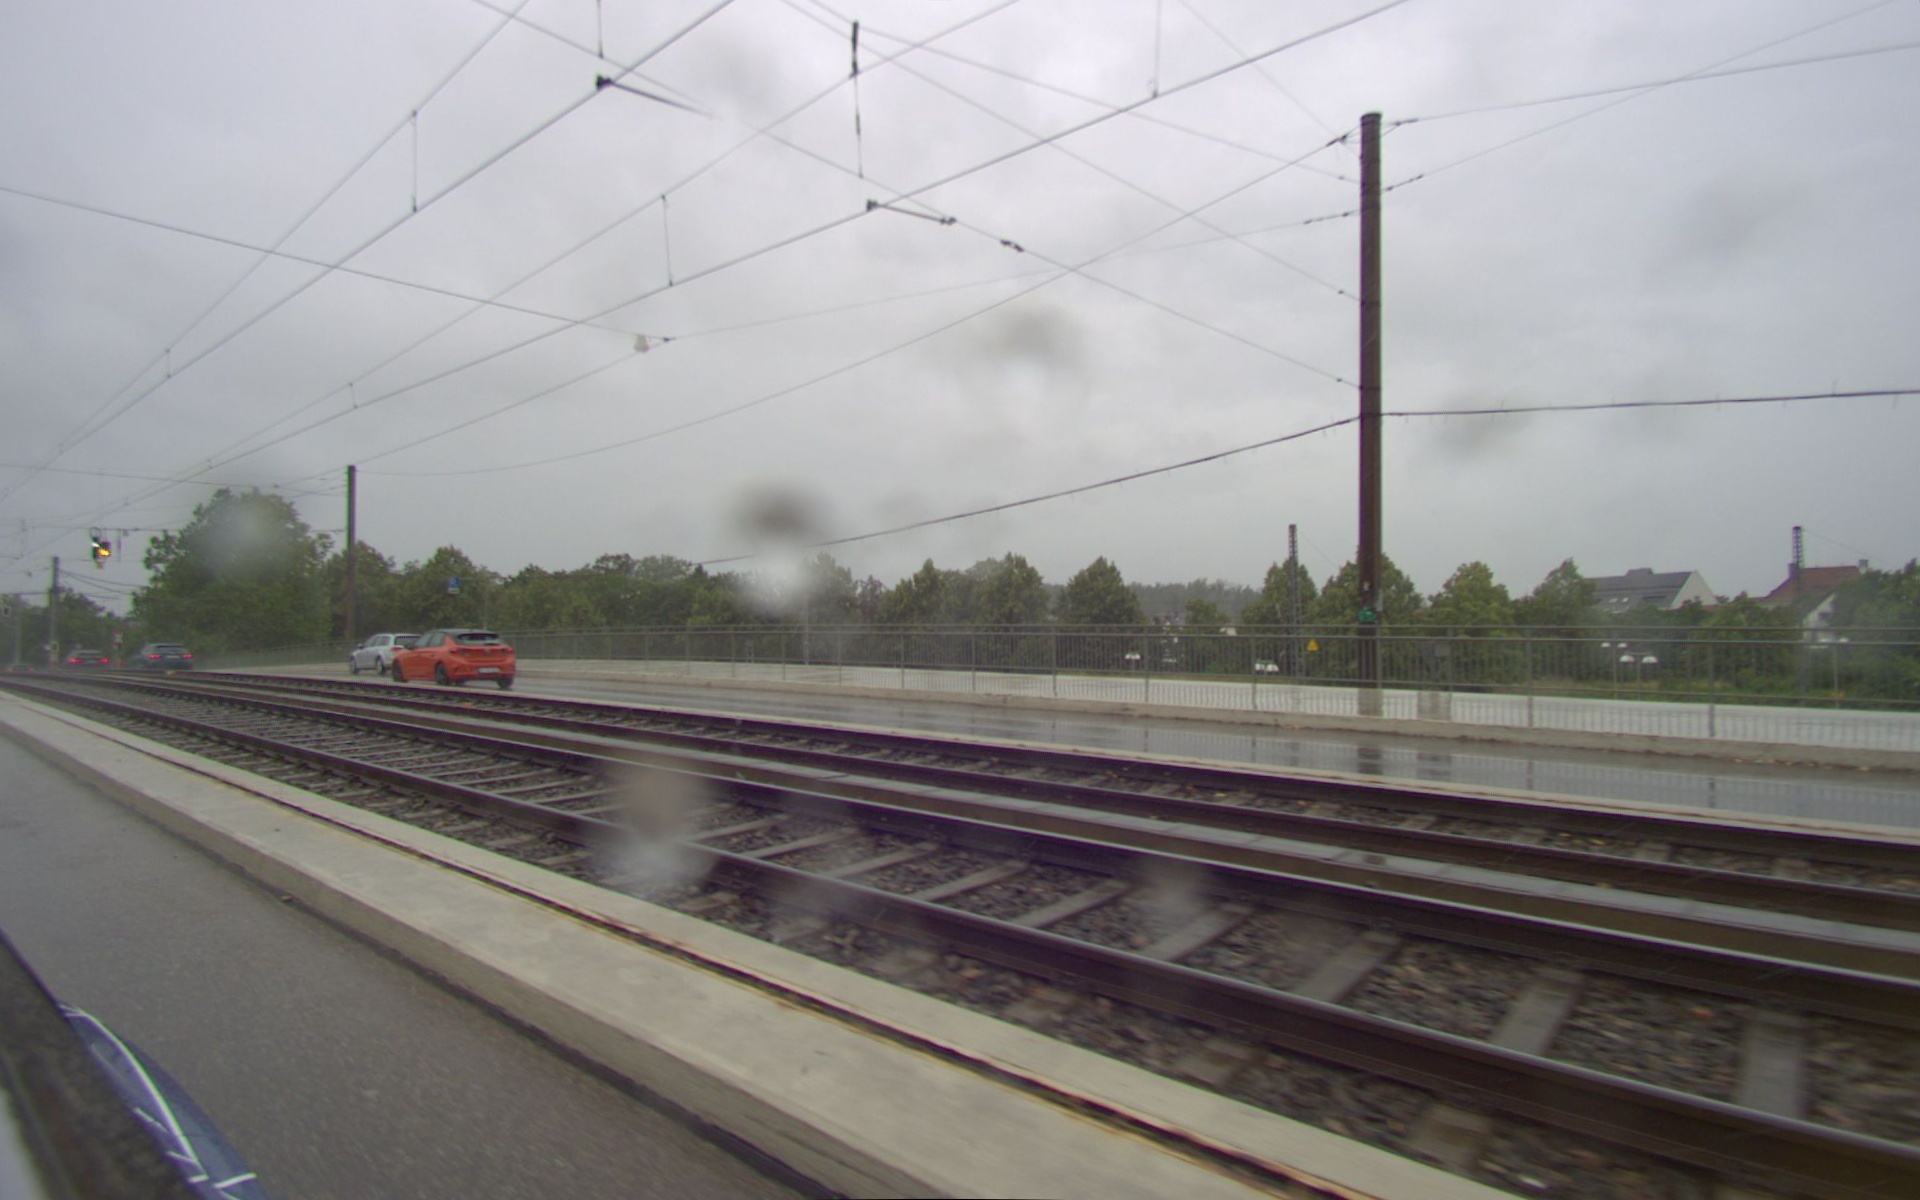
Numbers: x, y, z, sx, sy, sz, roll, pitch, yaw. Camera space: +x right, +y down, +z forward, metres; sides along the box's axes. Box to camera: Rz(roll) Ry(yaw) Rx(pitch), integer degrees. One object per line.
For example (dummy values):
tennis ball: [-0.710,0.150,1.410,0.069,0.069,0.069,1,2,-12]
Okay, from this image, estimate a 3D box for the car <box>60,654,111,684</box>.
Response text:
car: [-52.366,4.099,60.583,3.998,1.667,1.799,-3,-1,41]

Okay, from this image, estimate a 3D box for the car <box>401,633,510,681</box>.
car: [-16.704,1.878,33.443,4.319,1.467,1.604,-3,-4,40]

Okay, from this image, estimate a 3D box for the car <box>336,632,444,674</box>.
car: [-21.149,1.959,37.487,4.616,1.467,1.973,-3,-4,40]

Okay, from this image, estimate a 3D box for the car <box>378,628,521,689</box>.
car: [-12.770,1.432,25.234,4.082,1.326,1.780,-3,-1,41]

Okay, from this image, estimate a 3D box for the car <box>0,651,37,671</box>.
car: [-74.029,4.738,79.310,4.088,1.521,1.973,-3,-4,40]

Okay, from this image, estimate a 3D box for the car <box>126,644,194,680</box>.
car: [-36.963,2.826,46.727,4.082,1.493,1.780,-3,-1,41]
